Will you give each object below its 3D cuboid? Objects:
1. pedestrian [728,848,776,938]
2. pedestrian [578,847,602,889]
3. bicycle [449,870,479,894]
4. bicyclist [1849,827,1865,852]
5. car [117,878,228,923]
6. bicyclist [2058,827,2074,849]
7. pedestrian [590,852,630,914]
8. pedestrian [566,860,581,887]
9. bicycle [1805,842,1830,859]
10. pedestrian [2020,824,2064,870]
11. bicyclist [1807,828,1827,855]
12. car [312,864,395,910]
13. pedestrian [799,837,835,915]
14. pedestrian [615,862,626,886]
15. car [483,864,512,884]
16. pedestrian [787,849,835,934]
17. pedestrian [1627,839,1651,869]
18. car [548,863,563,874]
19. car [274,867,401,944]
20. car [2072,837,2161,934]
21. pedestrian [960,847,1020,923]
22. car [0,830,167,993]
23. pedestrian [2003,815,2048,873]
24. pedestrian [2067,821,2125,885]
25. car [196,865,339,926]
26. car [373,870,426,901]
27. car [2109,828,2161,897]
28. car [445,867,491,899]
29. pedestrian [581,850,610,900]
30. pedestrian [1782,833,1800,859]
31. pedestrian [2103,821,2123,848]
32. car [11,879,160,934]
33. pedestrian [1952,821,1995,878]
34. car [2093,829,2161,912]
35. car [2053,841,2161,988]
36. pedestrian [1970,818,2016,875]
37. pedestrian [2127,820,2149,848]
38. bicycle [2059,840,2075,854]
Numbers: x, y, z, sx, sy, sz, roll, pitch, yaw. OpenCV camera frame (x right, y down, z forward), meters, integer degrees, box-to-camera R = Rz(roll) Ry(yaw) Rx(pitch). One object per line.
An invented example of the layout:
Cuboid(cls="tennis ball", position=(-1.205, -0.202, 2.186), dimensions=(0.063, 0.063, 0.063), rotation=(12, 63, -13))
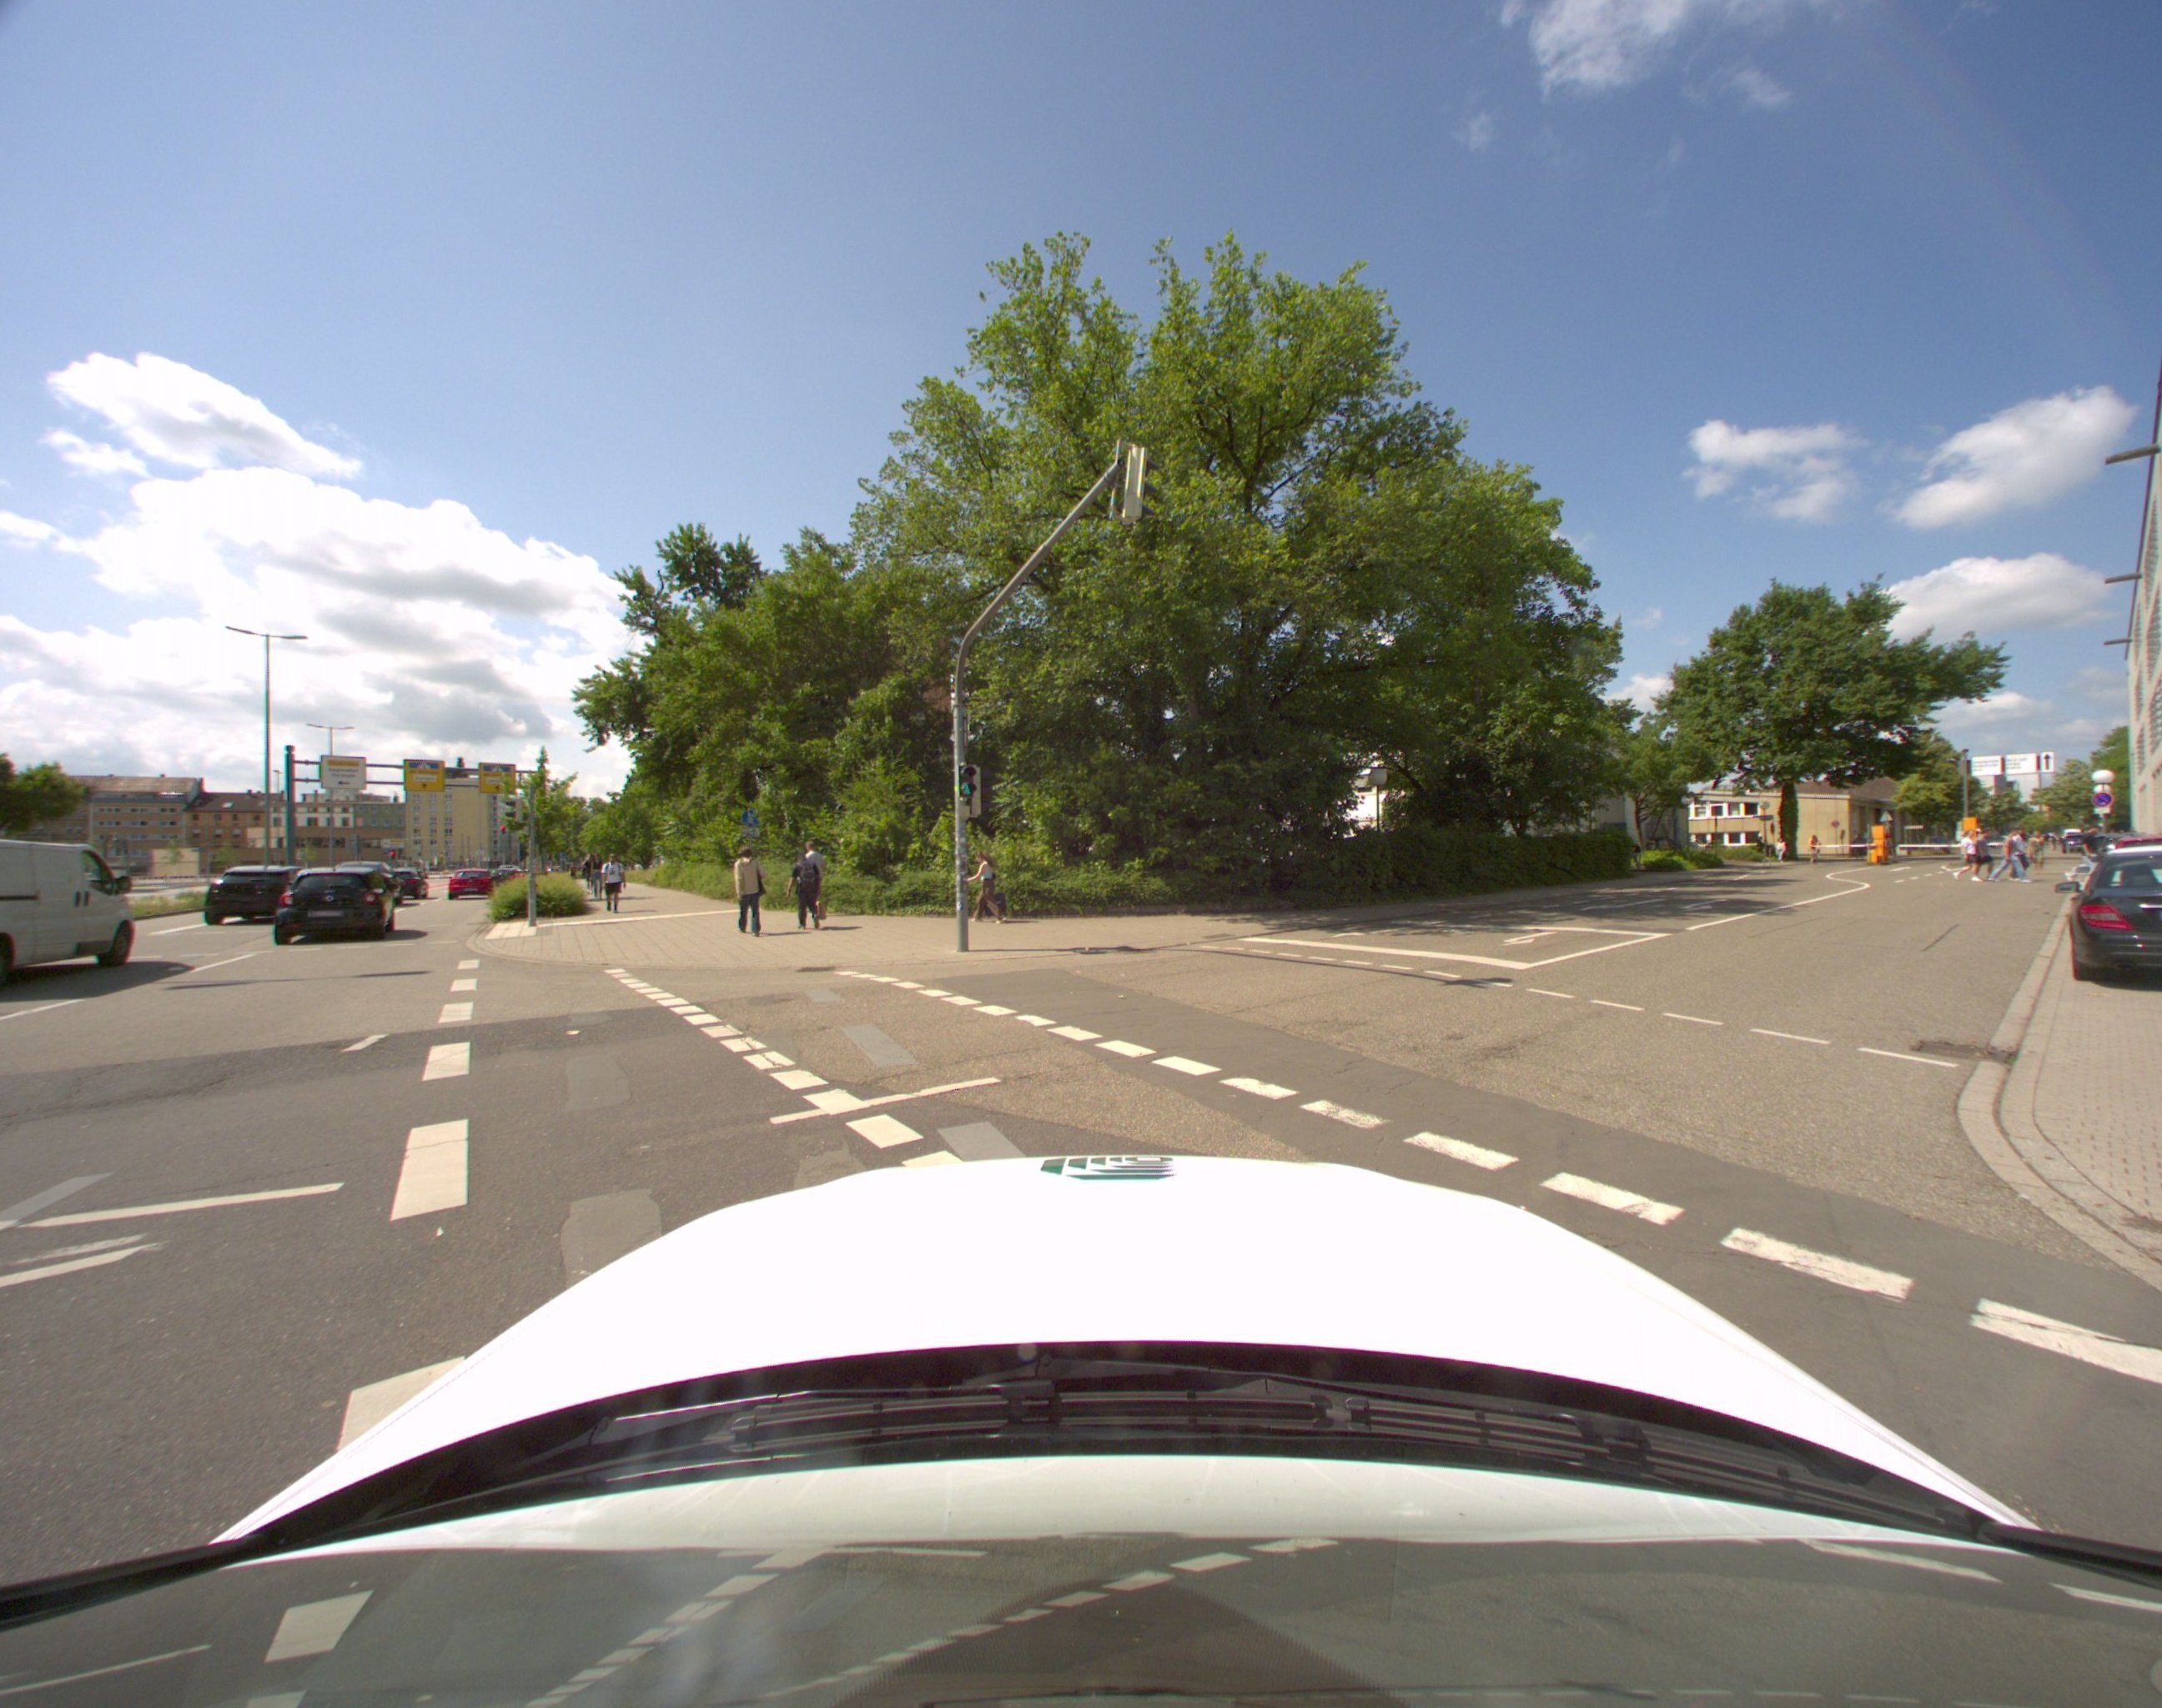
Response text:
Cuboid(cls="pedestrian", position=(-6.580, 0.744, 16.265), dimensions=(0.799, 1.704, 1.172), rotation=(0, 0, -27))
Cuboid(cls="pedestrian", position=(-23.251, 0.660, 38.552), dimensions=(0.845, 1.969, 0.851), rotation=(-1, -1, -37))
Cuboid(cls="bicycle", position=(-53.933, 2.448, 71.205), dimensions=(2.009, 2.014, 3.955), rotation=(1, -2, -37))
Cuboid(cls="bicyclist", position=(55.477, -1.042, 58.209), dimensions=(0.923, 1.737, 0.687), rotation=(-1, -1, -39))
Cuboid(cls="car", position=(-33.393, 1.651, 30.056), dimensions=(1.760, 1.472, 3.766), rotation=(0, -1, -32))
Cuboid(cls="bicyclist", position=(97.317, -1.541, 80.442), dimensions=(1.041, 2.132, 0.979), rotation=(1, -2, -39))
Cuboid(cls="pedestrian", position=(-13.627, 0.821, 23.553), dimensions=(0.857, 1.700, 0.921), rotation=(-3, 0, -35))
Cuboid(cls="pedestrian", position=(-37.710, 1.466, 60.538), dimensions=(0.845, 1.969, 0.851), rotation=(-1, -1, -37))
Cuboid(cls="bicycle", position=(43.802, -0.199, 48.431), dimensions=(2.220, 0.989, 0.786), rotation=(-1, -1, -39))
Cuboid(cls="pedestrian", position=(36.975, -0.262, 31.359), dimensions=(0.617, 1.717, 1.045), rotation=(-2, -1, 20))
Cuboid(cls="bicyclist", position=(44.032, -0.752, 48.706), dimensions=(1.023, 1.548, 0.687), rotation=(-1, -1, -39))
Cuboid(cls="car", position=(-27.621, 1.199, 31.064), dimensions=(1.840, 1.601, 4.346), rotation=(0, -1, -35))
Cuboid(cls="pedestrian", position=(-6.359, 0.510, 19.608), dimensions=(0.675, 1.821, 0.696), rotation=(0, 0, -31))
Cuboid(cls="pedestrian", position=(-36.054, 1.559, 63.783), dimensions=(0.553, 1.891, 0.506), rotation=(-1, -2, 27))
Cuboid(cls="car", position=(-41.298, 1.409, 57.667), dimensions=(1.623, 1.411, 3.479), rotation=(1, -1, -35))
Cuboid(cls="pedestrian", position=(-5.683, 0.759, 17.123), dimensions=(0.799, 1.704, 1.172), rotation=(0, 0, -27))
Cuboid(cls="pedestrian", position=(28.410, -0.002, 41.482), dimensions=(0.523, 1.521, 0.844), rotation=(1, -2, -35))
Cuboid(cls="car", position=(-92.142, 2.609, 142.820), dimensions=(1.956, 1.963, 3.910), rotation=(1, -2, -31))
Cuboid(cls="car", position=(-16.163, 1.045, 17.865), dimensions=(1.623, 1.485, 3.479), rotation=(0, -1, -35))
Cuboid(cls="car", position=(17.602, 0.436, 13.258), dimensions=(4.460, 1.400, 1.704), rotation=(-1, -3, -38))
Cuboid(cls="pedestrian", position=(-2.034, 0.664, 18.296), dimensions=(1.007, 1.626, 0.862), rotation=(0, 2, 26))
Cuboid(cls="car", position=(-15.085, 0.713, 11.207), dimensions=(2.020, 1.955, 5.140), rotation=(1, -1, -33))
Cuboid(cls="pedestrian", position=(31.917, -0.323, 27.521), dimensions=(0.750, 1.925, 0.722), rotation=(-1, 0, -17))
Cuboid(cls="pedestrian", position=(31.764, -0.033, 25.495), dimensions=(1.025, 1.920, 1.086), rotation=(-1, 0, -37))
Cuboid(cls="car", position=(-22.842, 1.080, 23.098), dimensions=(2.032, 1.530, 4.834), rotation=(0, -1, -35))
Cuboid(cls="car", position=(-32.041, 1.431, 38.363), dimensions=(1.623, 1.325, 3.479), rotation=(0, 0, -35))
Cuboid(cls="car", position=(25.540, 0.155, 19.104), dimensions=(4.019, 1.529, 1.705), rotation=(-1, -1, -38))
Cuboid(cls="car", position=(-28.867, 1.326, 38.410), dimensions=(1.623, 1.411, 3.479), rotation=(0, 0, -35))
Cuboid(cls="pedestrian", position=(-18.484, 0.778, 31.010), dimensions=(0.845, 1.868, 1.008), rotation=(-1, 0, -37))
Cuboid(cls="pedestrian", position=(44.307, -0.509, 50.834), dimensions=(0.888, 1.627, 0.707), rotation=(-1, 0, -40))
Cuboid(cls="pedestrian", position=(68.363, -1.283, 53.940), dimensions=(1.091, 1.781, 0.689), rotation=(-2, -2, -40))
Cuboid(cls="car", position=(-30.158, 1.527, 24.826), dimensions=(1.760, 1.472, 3.766), rotation=(0, -1, -32))
Cuboid(cls="pedestrian", position=(30.591, -0.165, 27.906), dimensions=(0.592, 1.925, 0.782), rotation=(-1, 0, -16))
Cuboid(cls="car", position=(21.455, 0.266, 16.132), dimensions=(4.166, 1.497, 1.601), rotation=(-2, -2, -38))
Cuboid(cls="car", position=(12.704, 0.567, 9.391), dimensions=(4.972, 1.400, 1.704), rotation=(-1, -2, -38))
Cuboid(cls="pedestrian", position=(31.295, -0.246, 27.963), dimensions=(0.733, 1.925, 0.780), rotation=(-1, 0, -16))
Cuboid(cls="pedestrian", position=(68.851, -1.308, 53.045), dimensions=(0.915, 1.781, 0.760), rotation=(-2, -2, -40))
Cuboid(cls="bicycle", position=(97.047, -0.712, 80.135), dimensions=(2.978, 1.316, 0.979), rotation=(1, -2, -39))
